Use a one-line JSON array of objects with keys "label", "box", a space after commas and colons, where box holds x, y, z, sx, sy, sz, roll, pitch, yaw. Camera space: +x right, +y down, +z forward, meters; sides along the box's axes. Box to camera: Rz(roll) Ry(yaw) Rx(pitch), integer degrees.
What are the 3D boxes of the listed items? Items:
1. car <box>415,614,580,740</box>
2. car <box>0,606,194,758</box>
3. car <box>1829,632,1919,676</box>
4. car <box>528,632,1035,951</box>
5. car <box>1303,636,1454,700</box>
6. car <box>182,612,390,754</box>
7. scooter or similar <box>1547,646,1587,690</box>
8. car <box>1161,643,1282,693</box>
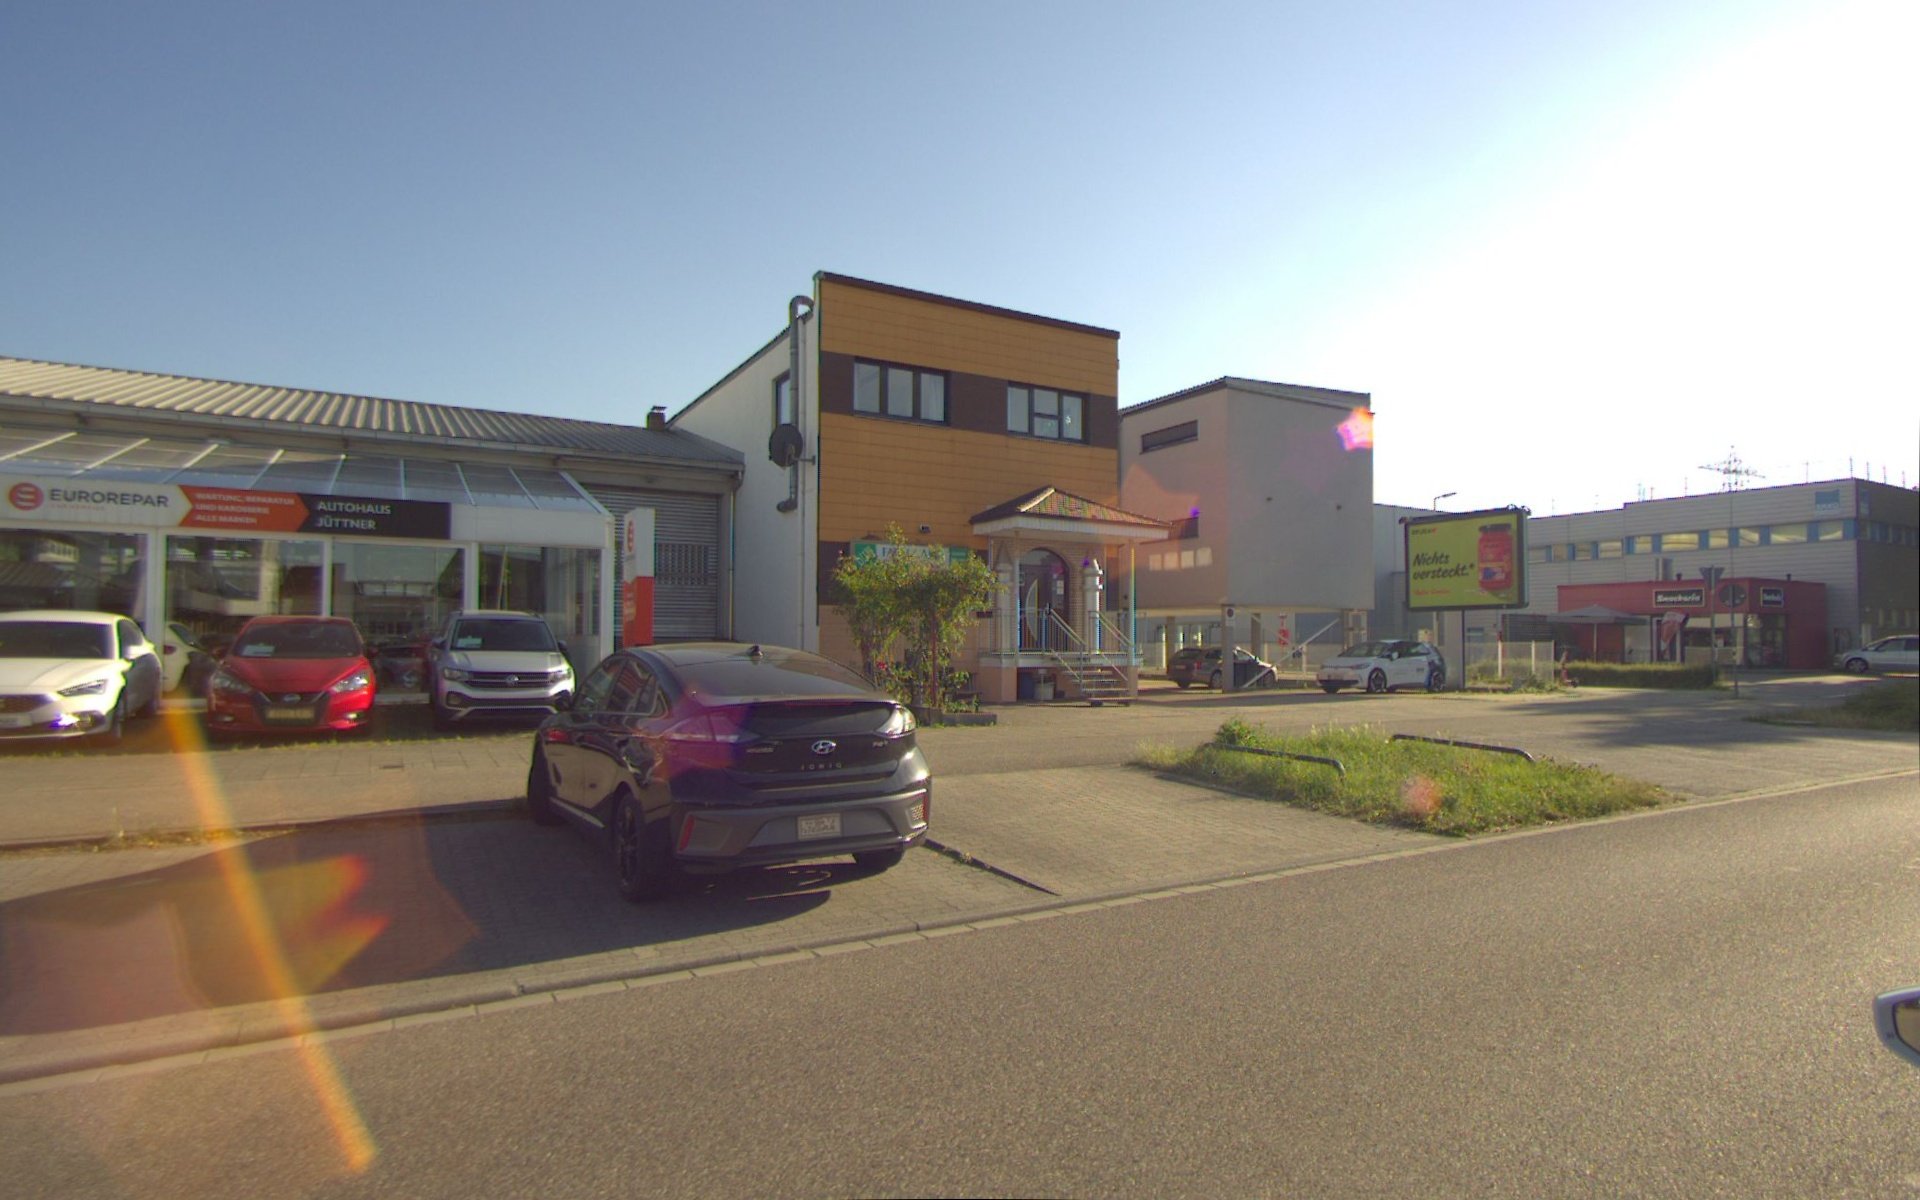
[{"label": "car", "box": [-6.918, 1.016, 14.811, 1.866, 1.576, 3.893, 2, -1, -30]}, {"label": "car", "box": [-10.913, 0.877, 12.209, 1.976, 1.576, 3.968, 2, -1, -30]}, {"label": "car", "box": [40.339, 2.327, 43.069, 4.581, 1.764, 1.988, 0, -2, 45]}, {"label": "car", "box": [-1.610, 1.033, 7.345, 2.178, 1.479, 4.289, 2, -2, -32]}, {"label": "car", "box": [12.469, 1.973, 29.896, 4.289, 1.598, 1.984, -1, 0, -31]}, {"label": "car", "box": [-8.812, 0.983, 13.472, 1.976, 1.576, 3.968, 2, -1, -30]}, {"label": "scooter or similar", "box": [17.887, 1.999, 29.635, 0.613, 1.216, 1.390, 1, -1, 14]}, {"label": "car", "box": [9.331, 2.390, 35.845, 3.953, 1.639, 1.984, 2, -1, -30]}]
